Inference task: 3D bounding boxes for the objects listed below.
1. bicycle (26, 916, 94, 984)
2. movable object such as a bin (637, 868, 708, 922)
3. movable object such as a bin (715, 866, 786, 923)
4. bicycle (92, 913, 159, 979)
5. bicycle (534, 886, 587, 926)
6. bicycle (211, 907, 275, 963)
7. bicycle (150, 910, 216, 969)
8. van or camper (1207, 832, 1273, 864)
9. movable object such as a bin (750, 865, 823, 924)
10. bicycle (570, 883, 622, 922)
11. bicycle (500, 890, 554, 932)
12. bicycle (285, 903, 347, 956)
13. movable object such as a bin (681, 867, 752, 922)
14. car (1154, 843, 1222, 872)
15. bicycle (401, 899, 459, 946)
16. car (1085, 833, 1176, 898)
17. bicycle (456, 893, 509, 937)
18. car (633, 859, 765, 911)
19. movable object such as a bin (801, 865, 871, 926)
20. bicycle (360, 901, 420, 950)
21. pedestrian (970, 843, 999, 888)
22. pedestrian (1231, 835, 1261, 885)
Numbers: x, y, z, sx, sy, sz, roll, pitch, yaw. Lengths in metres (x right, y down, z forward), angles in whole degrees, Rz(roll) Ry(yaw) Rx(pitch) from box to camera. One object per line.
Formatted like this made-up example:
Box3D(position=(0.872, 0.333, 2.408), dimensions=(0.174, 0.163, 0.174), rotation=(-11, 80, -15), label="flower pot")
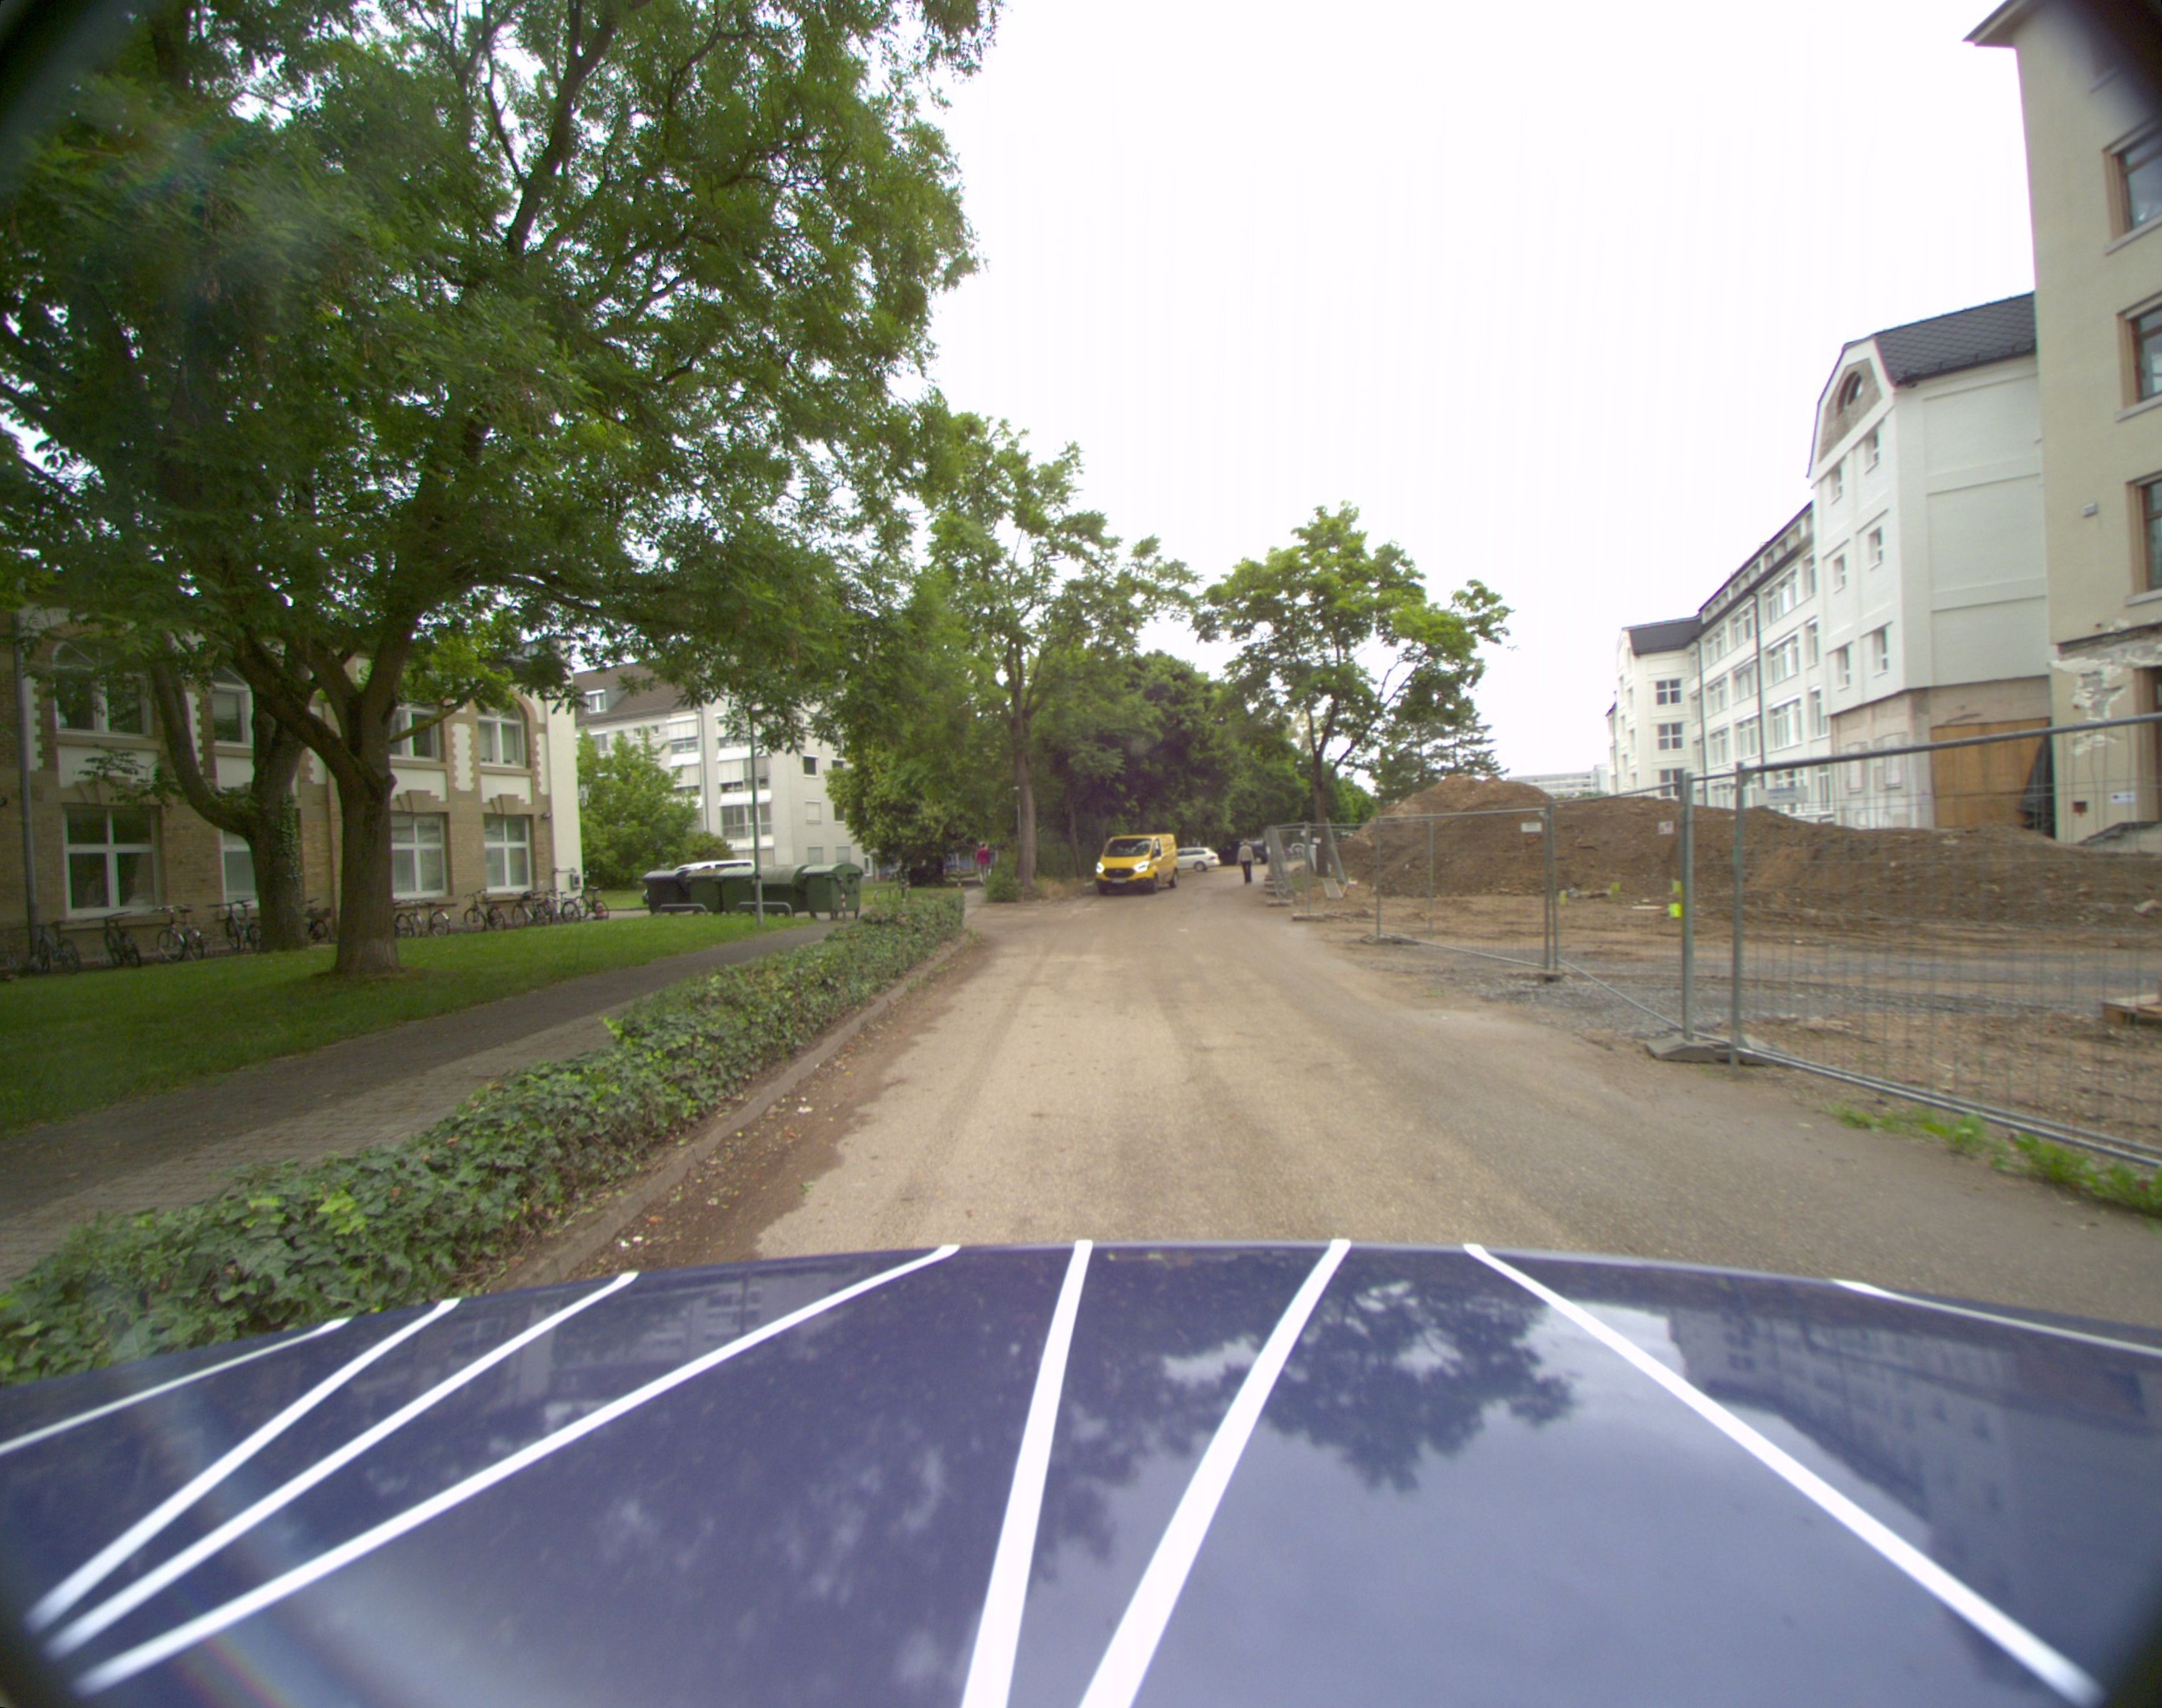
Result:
Box3D(position=(-18.750, 1.743, 13.943), dimensions=(1.740, 1.108, 0.461), rotation=(-1, 2, 28), label="bicycle")
Box3D(position=(-11.702, 1.170, 21.798), dimensions=(1.359, 1.442, 1.110), rotation=(-3, 1, 21), label="movable object such as a bin")
Box3D(position=(-8.960, 1.094, 20.652), dimensions=(1.292, 1.442, 1.110), rotation=(-3, 1, 21), label="movable object such as a bin")
Box3D(position=(-18.382, 1.738, 14.610), dimensions=(1.740, 1.108, 0.461), rotation=(1, 2, 28), label="bicycle")
Box3D(position=(-14.979, 1.492, 21.872), dimensions=(1.740, 1.108, 0.461), rotation=(-2, 1, 28), label="bicycle")
Box3D(position=(-17.741, 1.699, 16.074), dimensions=(1.740, 1.108, 0.461), rotation=(-2, 1, 28), label="bicycle")
Box3D(position=(-18.149, 1.705, 15.351), dimensions=(1.740, 1.108, 0.461), rotation=(-2, 1, 28), label="bicycle")
Box3D(position=(12.179, -0.425, 58.228), dimensions=(4.490, 2.245, 2.003), rotation=(-2, 1, 27), label="van or camper")
Box3D(position=(-7.682, 1.058, 19.844), dimensions=(1.283, 1.442, 1.110), rotation=(-2, 1, 25), label="movable object such as a bin")
Box3D(position=(-14.540, 1.467, 22.777), dimensions=(1.740, 1.108, 0.461), rotation=(-2, 1, 28), label="bicycle")
Box3D(position=(-15.380, 1.584, 21.097), dimensions=(1.740, 1.108, 0.461), rotation=(-2, 1, 28), label="bicycle")
Box3D(position=(-17.224, 1.681, 17.107), dimensions=(1.740, 1.108, 0.461), rotation=(-2, 1, 28), label="bicycle")
Box3D(position=(-10.218, 1.132, 21.323), dimensions=(1.324, 1.442, 1.110), rotation=(-3, 1, 21), label="movable object such as a bin")
Box3D(position=(6.615, 0.190, 46.753), dimensions=(3.879, 1.566, 1.754), rotation=(-3, 1, 15), label="car")
Box3D(position=(-16.344, 1.698, 19.070), dimensions=(1.740, 1.108, 0.461), rotation=(-2, 1, 28), label="bicycle")
Box3D(position=(1.799, 0.342, 26.077), dimensions=(2.121, 2.002, 4.005), rotation=(-2, 1, 18), label="car")
Box3D(position=(-15.885, 1.609, 20.155), dimensions=(1.740, 1.108, 0.461), rotation=(-2, 1, 30), label="bicycle")
Box3D(position=(-16.504, 1.296, 33.110), dimensions=(1.897, 1.862, 4.781), rotation=(-5, 0, 28), label="car")
Box3D(position=(-6.237, 1.041, 19.363), dimensions=(1.272, 1.426, 1.074), rotation=(-2, 1, 36), label="movable object such as a bin")
Box3D(position=(-16.723, 1.714, 18.377), dimensions=(1.740, 1.108, 0.461), rotation=(-2, 1, 28), label="bicycle")
Box3D(position=(-4.568, 0.516, 35.956), dimensions=(0.793, 2.052, 1.203), rotation=(-2, 1, 22), label="pedestrian")
Box3D(position=(6.051, 0.218, 27.831), dimensions=(0.752, 1.771, 0.661), rotation=(-3, 1, -24), label="pedestrian")
